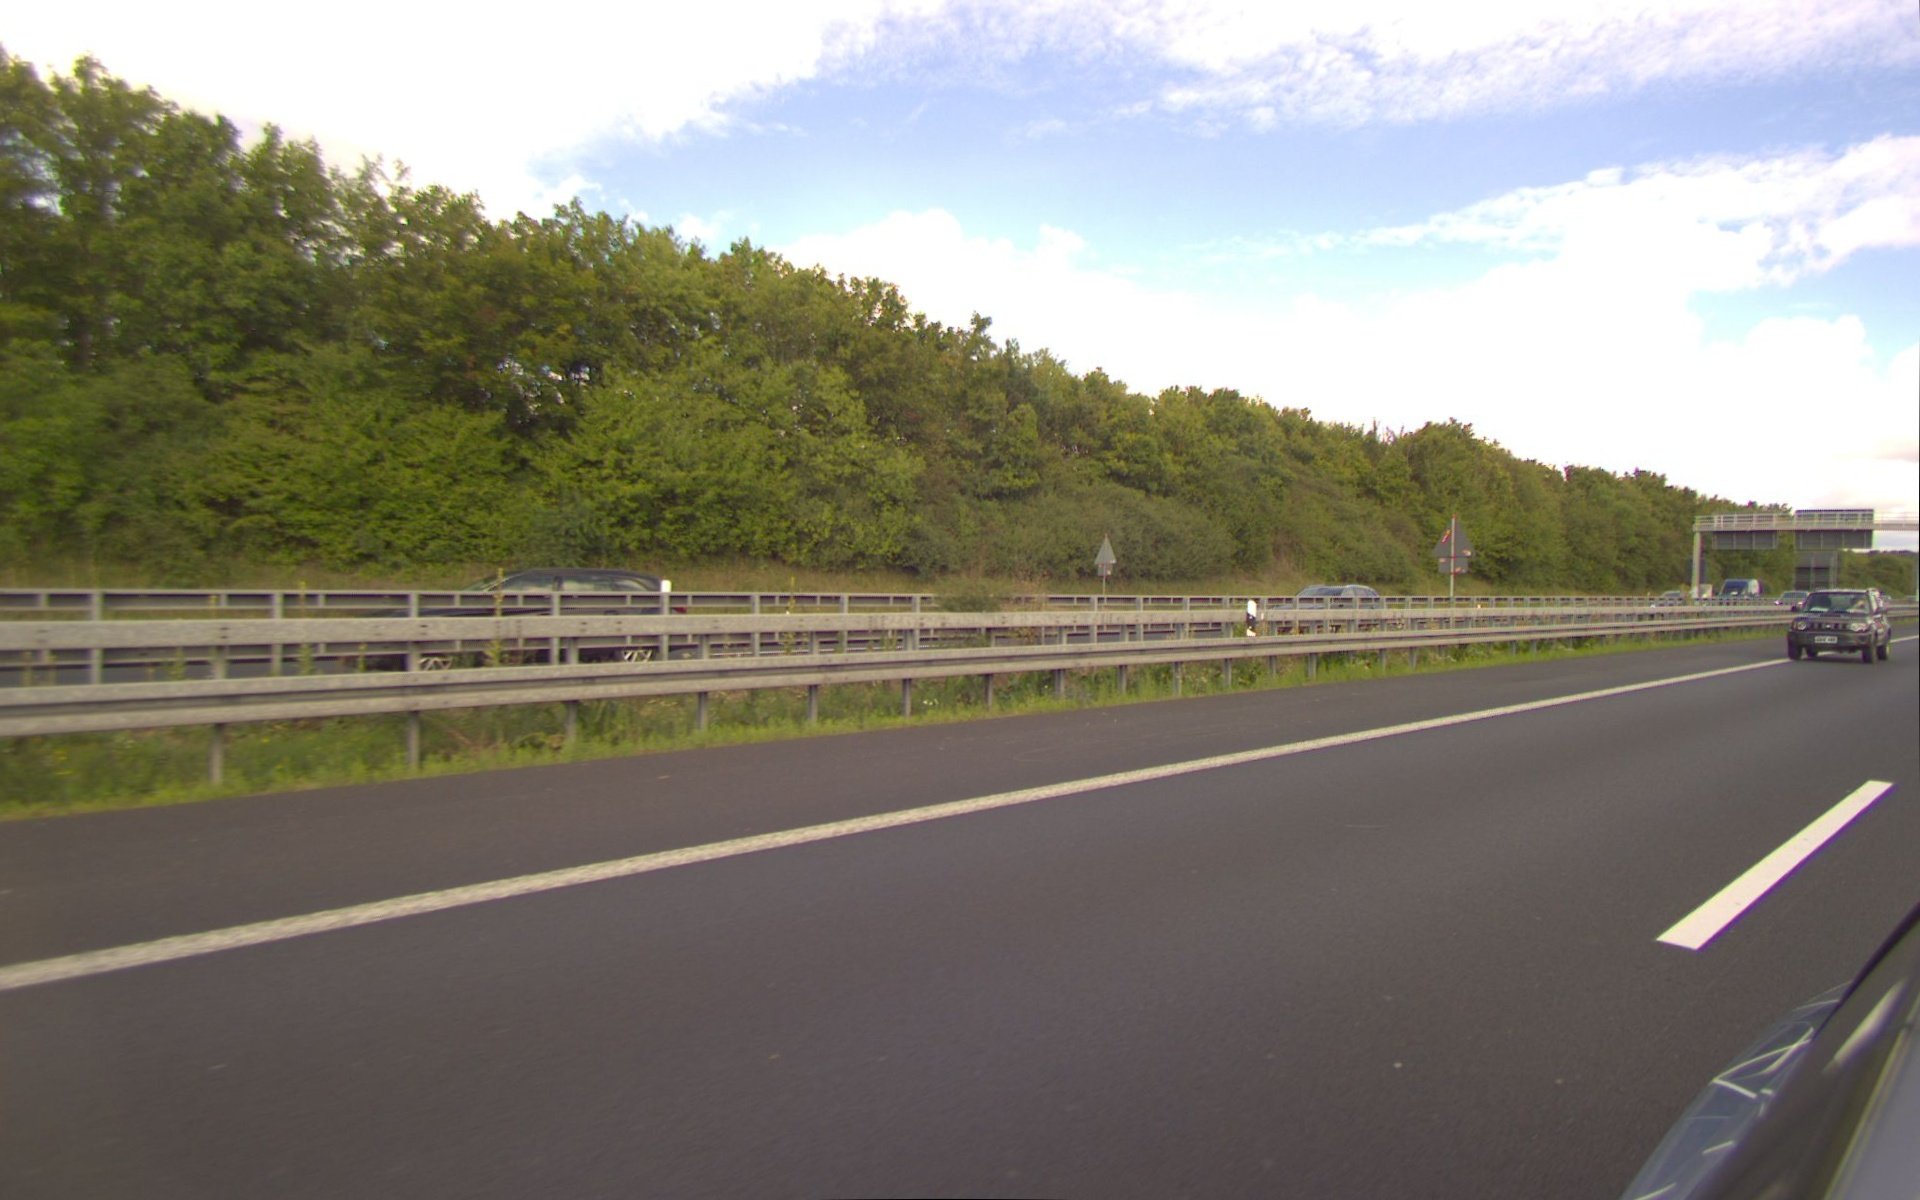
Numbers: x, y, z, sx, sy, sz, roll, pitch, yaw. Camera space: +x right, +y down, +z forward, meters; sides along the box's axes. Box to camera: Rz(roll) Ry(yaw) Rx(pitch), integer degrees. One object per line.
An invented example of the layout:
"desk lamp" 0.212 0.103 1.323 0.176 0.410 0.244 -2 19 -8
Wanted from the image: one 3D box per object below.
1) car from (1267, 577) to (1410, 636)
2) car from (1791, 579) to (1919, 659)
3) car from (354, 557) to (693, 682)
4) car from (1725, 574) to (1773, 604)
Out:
"car" 10.601 0.136 28.208 4.236 1.503 1.997 -1 2 -42
"car" 21.878 0.404 24.684 4.131 1.754 1.670 0 2 -39
"car" -6.007 0.187 14.140 3.931 1.503 1.997 -1 2 -42
"car" 60.691 -0.837 77.837 5.040 2.212 1.997 -1 2 -42
